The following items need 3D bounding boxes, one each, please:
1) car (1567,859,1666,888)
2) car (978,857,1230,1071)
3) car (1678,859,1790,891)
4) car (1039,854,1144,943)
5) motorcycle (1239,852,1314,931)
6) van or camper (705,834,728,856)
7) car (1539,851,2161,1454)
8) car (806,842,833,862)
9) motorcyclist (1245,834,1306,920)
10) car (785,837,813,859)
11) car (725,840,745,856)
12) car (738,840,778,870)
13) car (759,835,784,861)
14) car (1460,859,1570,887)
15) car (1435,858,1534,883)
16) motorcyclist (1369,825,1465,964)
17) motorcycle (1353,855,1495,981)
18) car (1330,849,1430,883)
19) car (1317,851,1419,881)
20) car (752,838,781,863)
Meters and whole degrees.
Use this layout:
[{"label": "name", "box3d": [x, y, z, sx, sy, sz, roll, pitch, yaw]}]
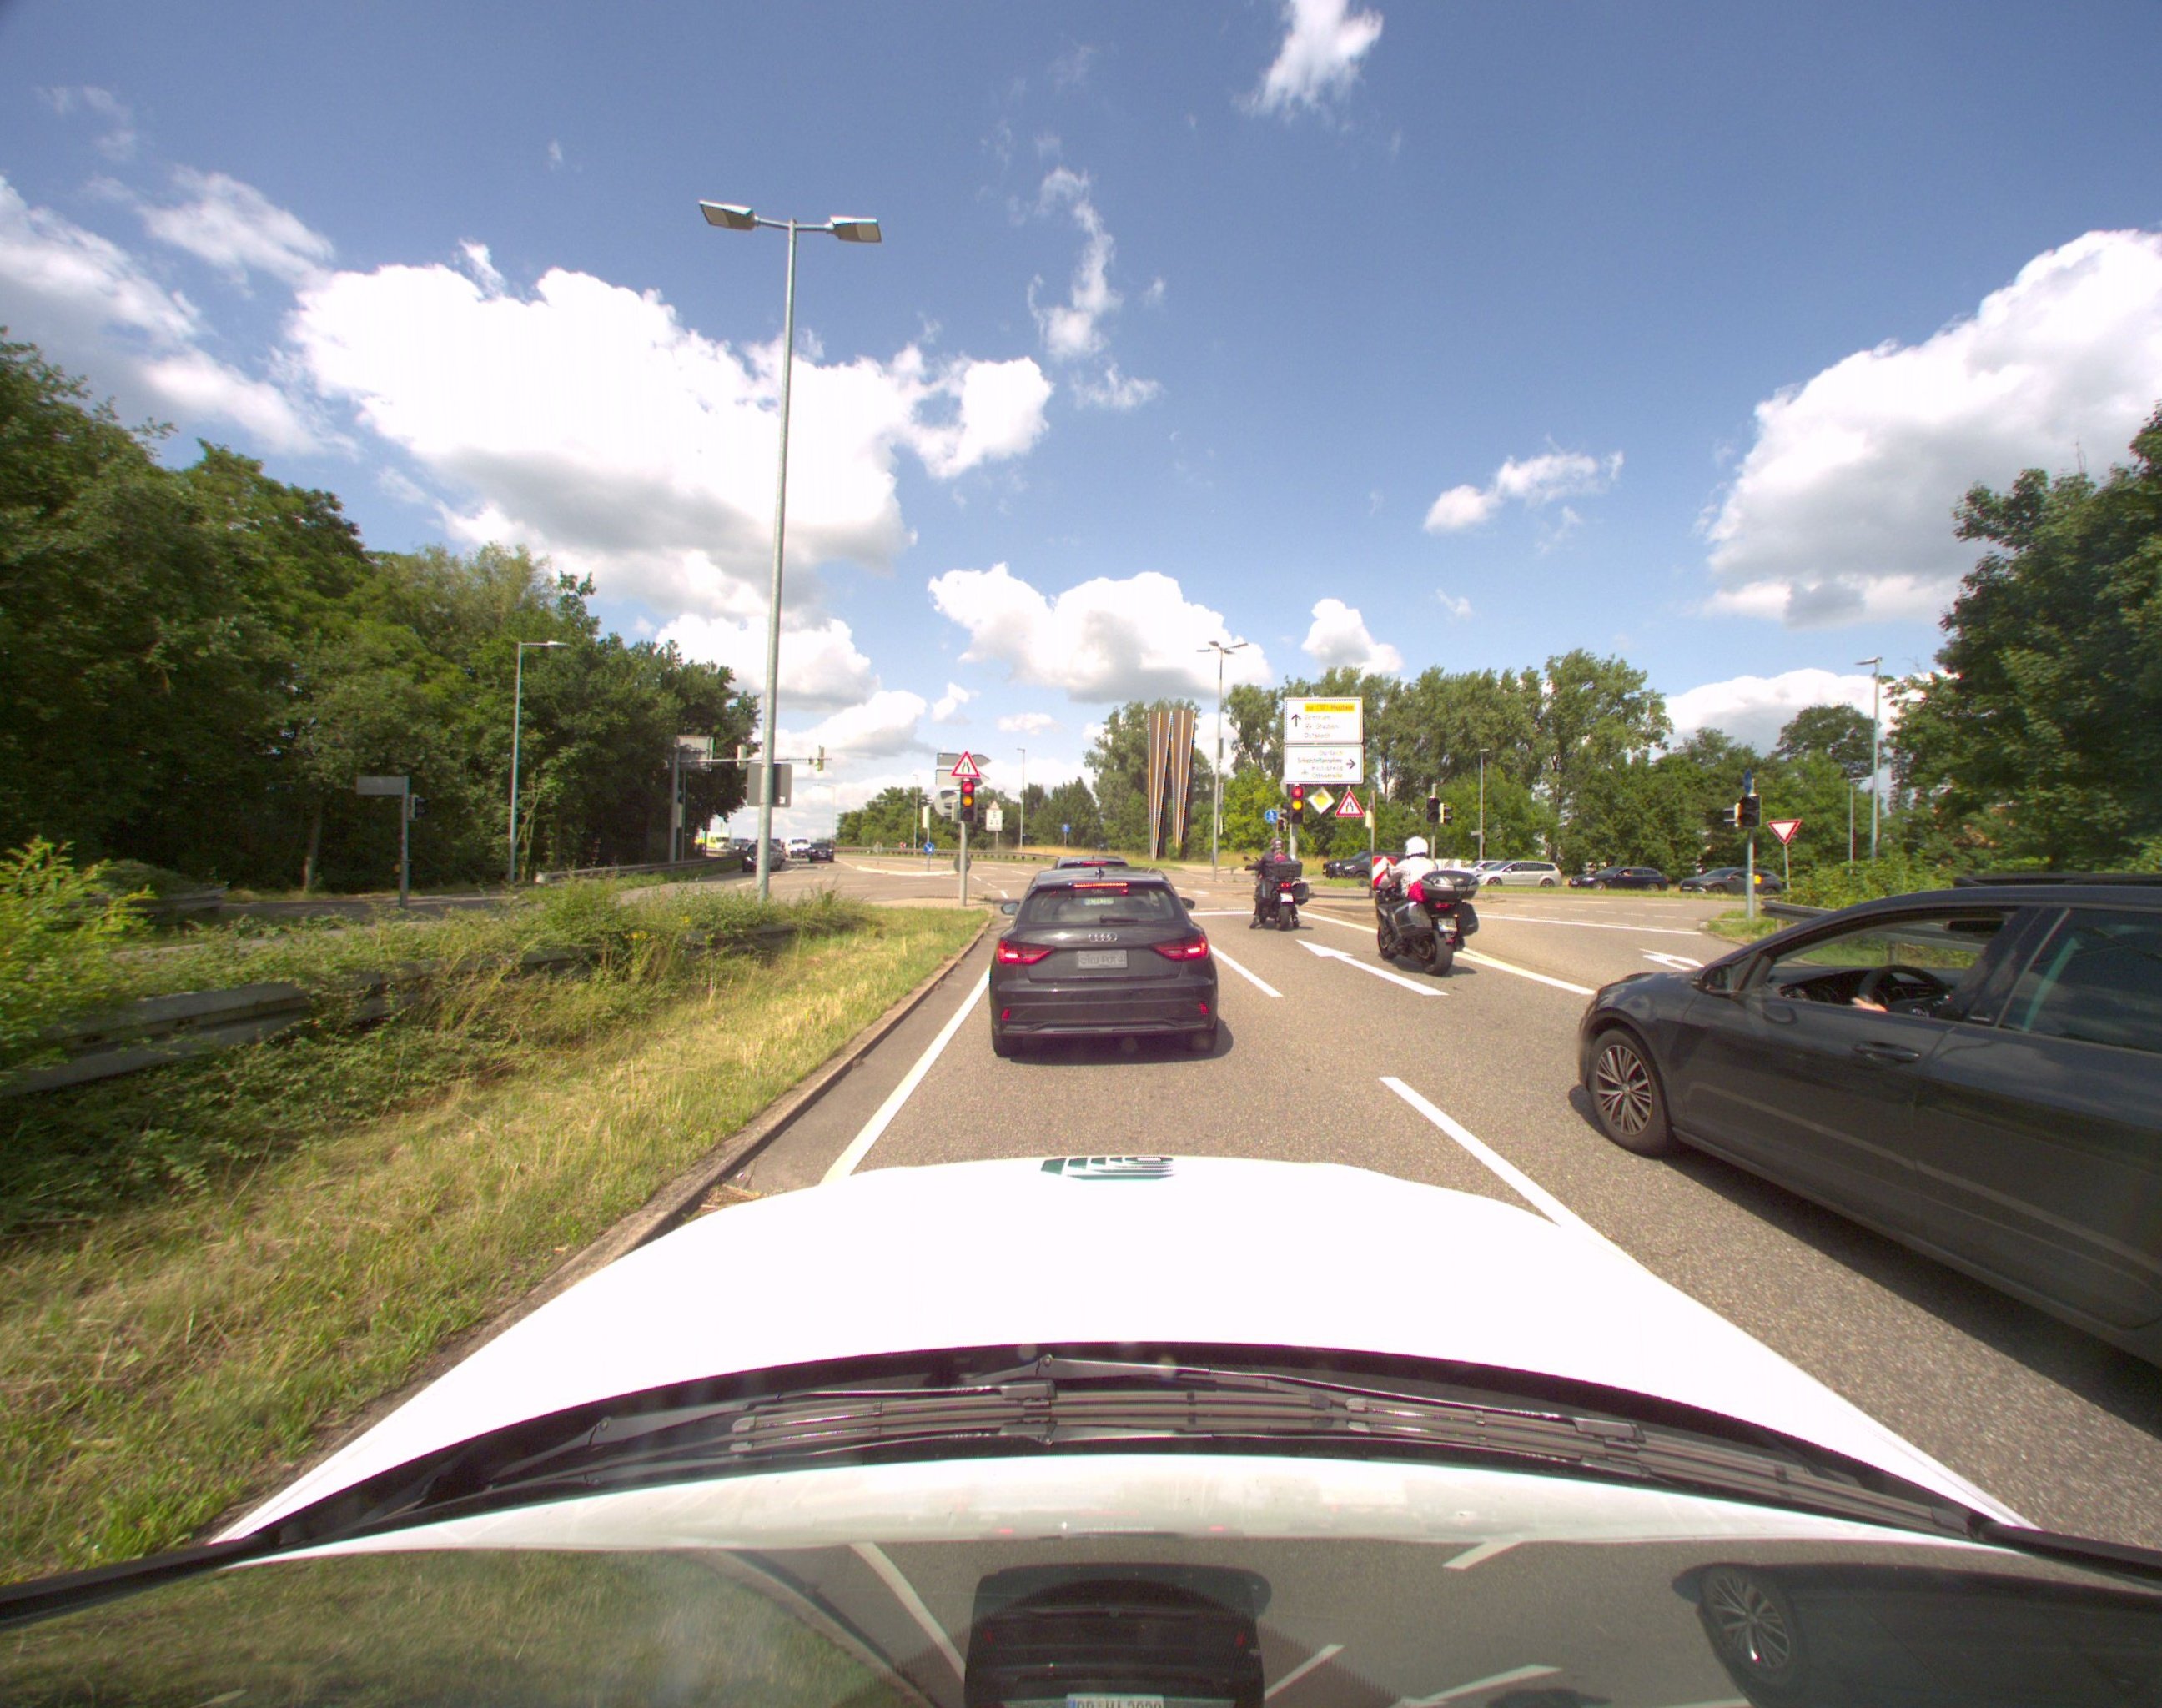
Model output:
[{"label": "car", "box3d": [28.852, 1.028, 43.944, 4.212, 1.476, 1.736, 1, 0, -2]}, {"label": "car", "box3d": [0.222, 0.776, 7.667, 1.720, 1.404, 4.002, -1, 0, 2]}, {"label": "car", "box3d": [32.209, 1.009, 40.216, 4.212, 1.476, 1.736, 1, 0, -2]}, {"label": "car", "box3d": [0.108, 0.732, 15.476, 1.722, 1.423, 3.841, -1, 0, -2]}, {"label": "motorcycle", "box3d": [3.676, 0.658, 15.574, 0.933, 1.383, 2.371, 0, 0, 2]}, {"label": "van or camper", "box3d": [-46.604, -1.105, 103.945, 2.006, 2.683, 6.798, 0, 0, -30]}, {"label": "car", "box3d": [3.544, 0.736, 2.844, 1.725, 1.476, 4.049, 1, 0, 2]}, {"label": "car", "box3d": [-20.185, -0.144, 62.741, 1.738, 1.496, 4.018, 1, 0, -21]}, {"label": "motorcyclist", "box3d": [3.677, 0.421, 15.495, 0.933, 1.590, 1.084, 0, 0, 1]}, {"label": "car", "box3d": [-27.207, -0.563, 78.504, 2.004, 2.013, 4.431, 1, 0, -27]}, {"label": "car", "box3d": [-38.806, -0.663, 91.278, 1.853, 1.705, 4.289, 1, 0, -26]}, {"label": "car", "box3d": [-18.240, 0.115, 46.114, 1.844, 1.618, 3.974, 0, -1, -19]}, {"label": "car", "box3d": [-25.747, -0.505, 67.636, 1.850, 2.100, 4.295, 1, 0, -22]}, {"label": "car", "box3d": [21.115, 0.909, 39.710, 4.460, 1.320, 1.736, 1, 0, -2]}, {"label": "car", "box3d": [21.574, 0.884, 43.637, 4.481, 1.281, 1.736, 1, 0, -2]}, {"label": "motorcyclist", "box3d": [4.260, 0.490, 10.380, 0.862, 1.700, 0.895, 0, 0, 1]}, {"label": "motorcycle", "box3d": [4.262, 0.728, 10.366, 0.862, 1.389, 2.371, 0, 0, 2]}, {"label": "car", "box3d": [14.527, 0.569, 39.691, 4.253, 1.545, 1.737, 1, 0, 0]}, {"label": "car", "box3d": [15.285, 0.626, 43.527, 4.831, 1.545, 1.737, 1, 0, 0]}, {"label": "car", "box3d": [-23.193, -0.259, 60.224, 1.849, 1.802, 4.299, 1, 0, -19]}]
